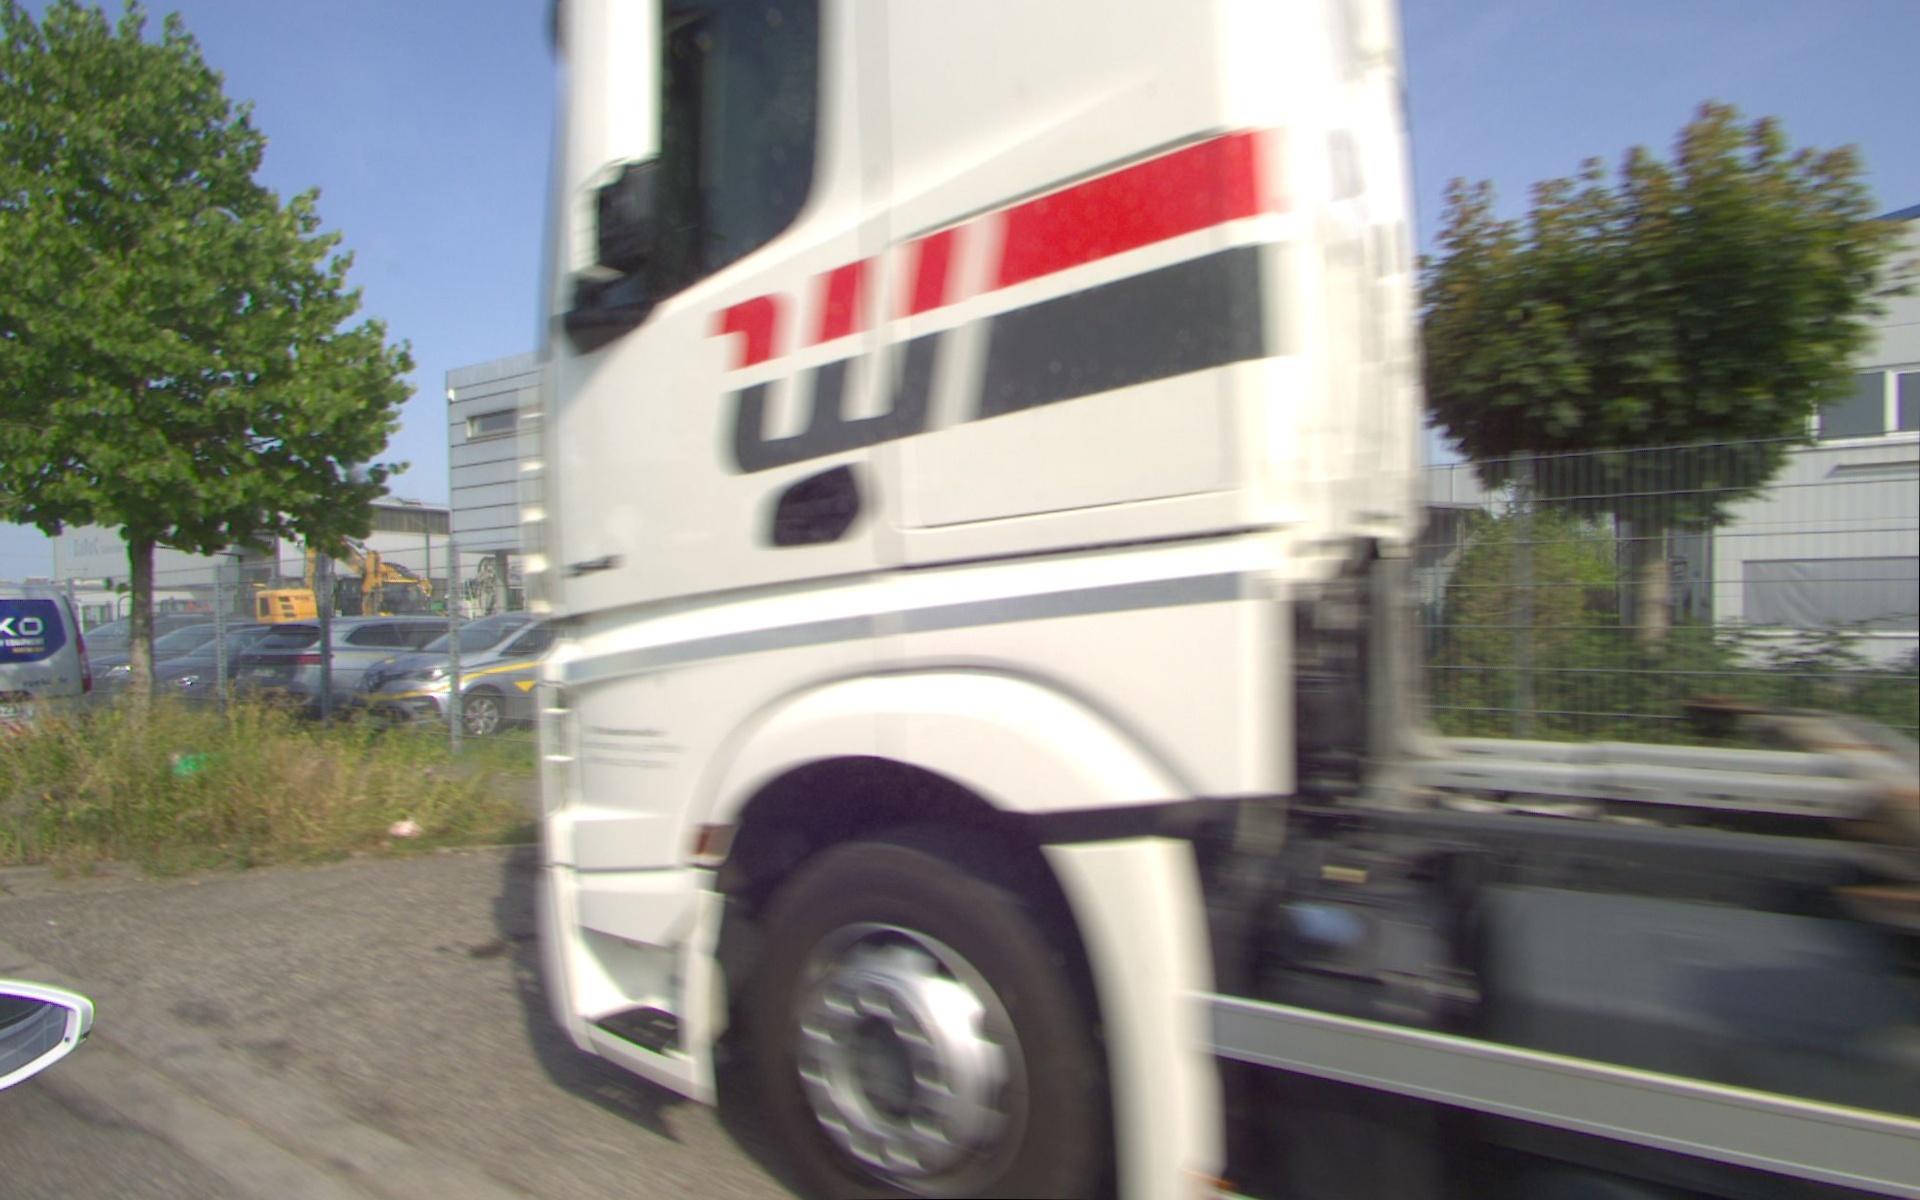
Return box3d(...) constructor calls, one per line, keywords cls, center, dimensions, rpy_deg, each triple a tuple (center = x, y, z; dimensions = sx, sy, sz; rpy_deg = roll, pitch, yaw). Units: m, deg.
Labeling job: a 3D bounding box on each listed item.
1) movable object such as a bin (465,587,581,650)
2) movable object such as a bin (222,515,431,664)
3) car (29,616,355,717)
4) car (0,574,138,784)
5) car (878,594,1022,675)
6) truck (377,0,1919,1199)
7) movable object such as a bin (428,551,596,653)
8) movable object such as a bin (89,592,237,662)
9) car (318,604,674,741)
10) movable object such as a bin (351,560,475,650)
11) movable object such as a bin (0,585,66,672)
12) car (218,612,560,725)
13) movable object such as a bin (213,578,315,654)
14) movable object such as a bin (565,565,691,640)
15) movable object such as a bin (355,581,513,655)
box3d(cls="movable object such as a bin", center=(-20.342, 0.820, 46.564), dimensions=(5.606, 2.806, 2.050), rpy_deg=(0, 1, 31))
box3d(cls="movable object such as a bin", center=(-22.922, -0.304, 36.152), dimensions=(7.559, 4.870, 3.311), rpy_deg=(0, 0, 31))
box3d(cls="car", center=(-13.363, 1.057, 17.725), dimensions=(1.870, 1.515, 4.221), rpy_deg=(0, 0, 28))
box3d(cls="car", center=(-10.217, 0.749, 9.896), dimensions=(4.536, 1.812, 1.989), rpy_deg=(-2, -1, 33))
box3d(cls="car", center=(-0.179, 0.888, 27.344), dimensions=(1.868, 2.028, 4.347), rpy_deg=(0, -1, 33))
box3d(cls="truck", center=(3.193, -0.659, 1.422), dimensions=(9.545, 4.070, 2.739), rpy_deg=(0, 2, 32))
box3d(cls="movable object such as a bin", center=(-19.010, 0.087, 42.387), dimensions=(7.100, 3.982, 2.913), rpy_deg=(0, 1, 31))
box3d(cls="movable object such as a bin", center=(-30.723, 1.013, 38.574), dimensions=(5.263, 2.524, 2.916), rpy_deg=(-1, 0, 33))
box3d(cls="car", center=(-5.814, 0.869, 13.078), dimensions=(1.762, 1.496, 3.987), rpy_deg=(-1, -2, 27))
box3d(cls="movable object such as a bin", center=(-25.406, 0.245, 46.429), dimensions=(5.637, 3.925, 2.678), rpy_deg=(-1, 0, 33))
box3d(cls="movable object such as a bin", center=(-32.453, 0.951, 33.973), dimensions=(5.087, 2.788, 1.882), rpy_deg=(-1, 0, 33))
box3d(cls="car", center=(-8.040, 0.930, 14.511), dimensions=(1.762, 1.388, 3.987), rpy_deg=(-1, -2, 27))
box3d(cls="movable object such as a bin", center=(-29.561, 0.665, 42.499), dimensions=(4.428, 3.071, 1.988), rpy_deg=(-1, 0, 33))
box3d(cls="movable object such as a bin", center=(-18.505, 0.216, 55.734), dimensions=(7.092, 3.981, 2.463), rpy_deg=(-1, 0, 29))
box3d(cls="movable object such as a bin", center=(-20.926, 0.685, 39.786), dimensions=(6.255, 2.752, 2.696), rpy_deg=(0, 1, 31))
